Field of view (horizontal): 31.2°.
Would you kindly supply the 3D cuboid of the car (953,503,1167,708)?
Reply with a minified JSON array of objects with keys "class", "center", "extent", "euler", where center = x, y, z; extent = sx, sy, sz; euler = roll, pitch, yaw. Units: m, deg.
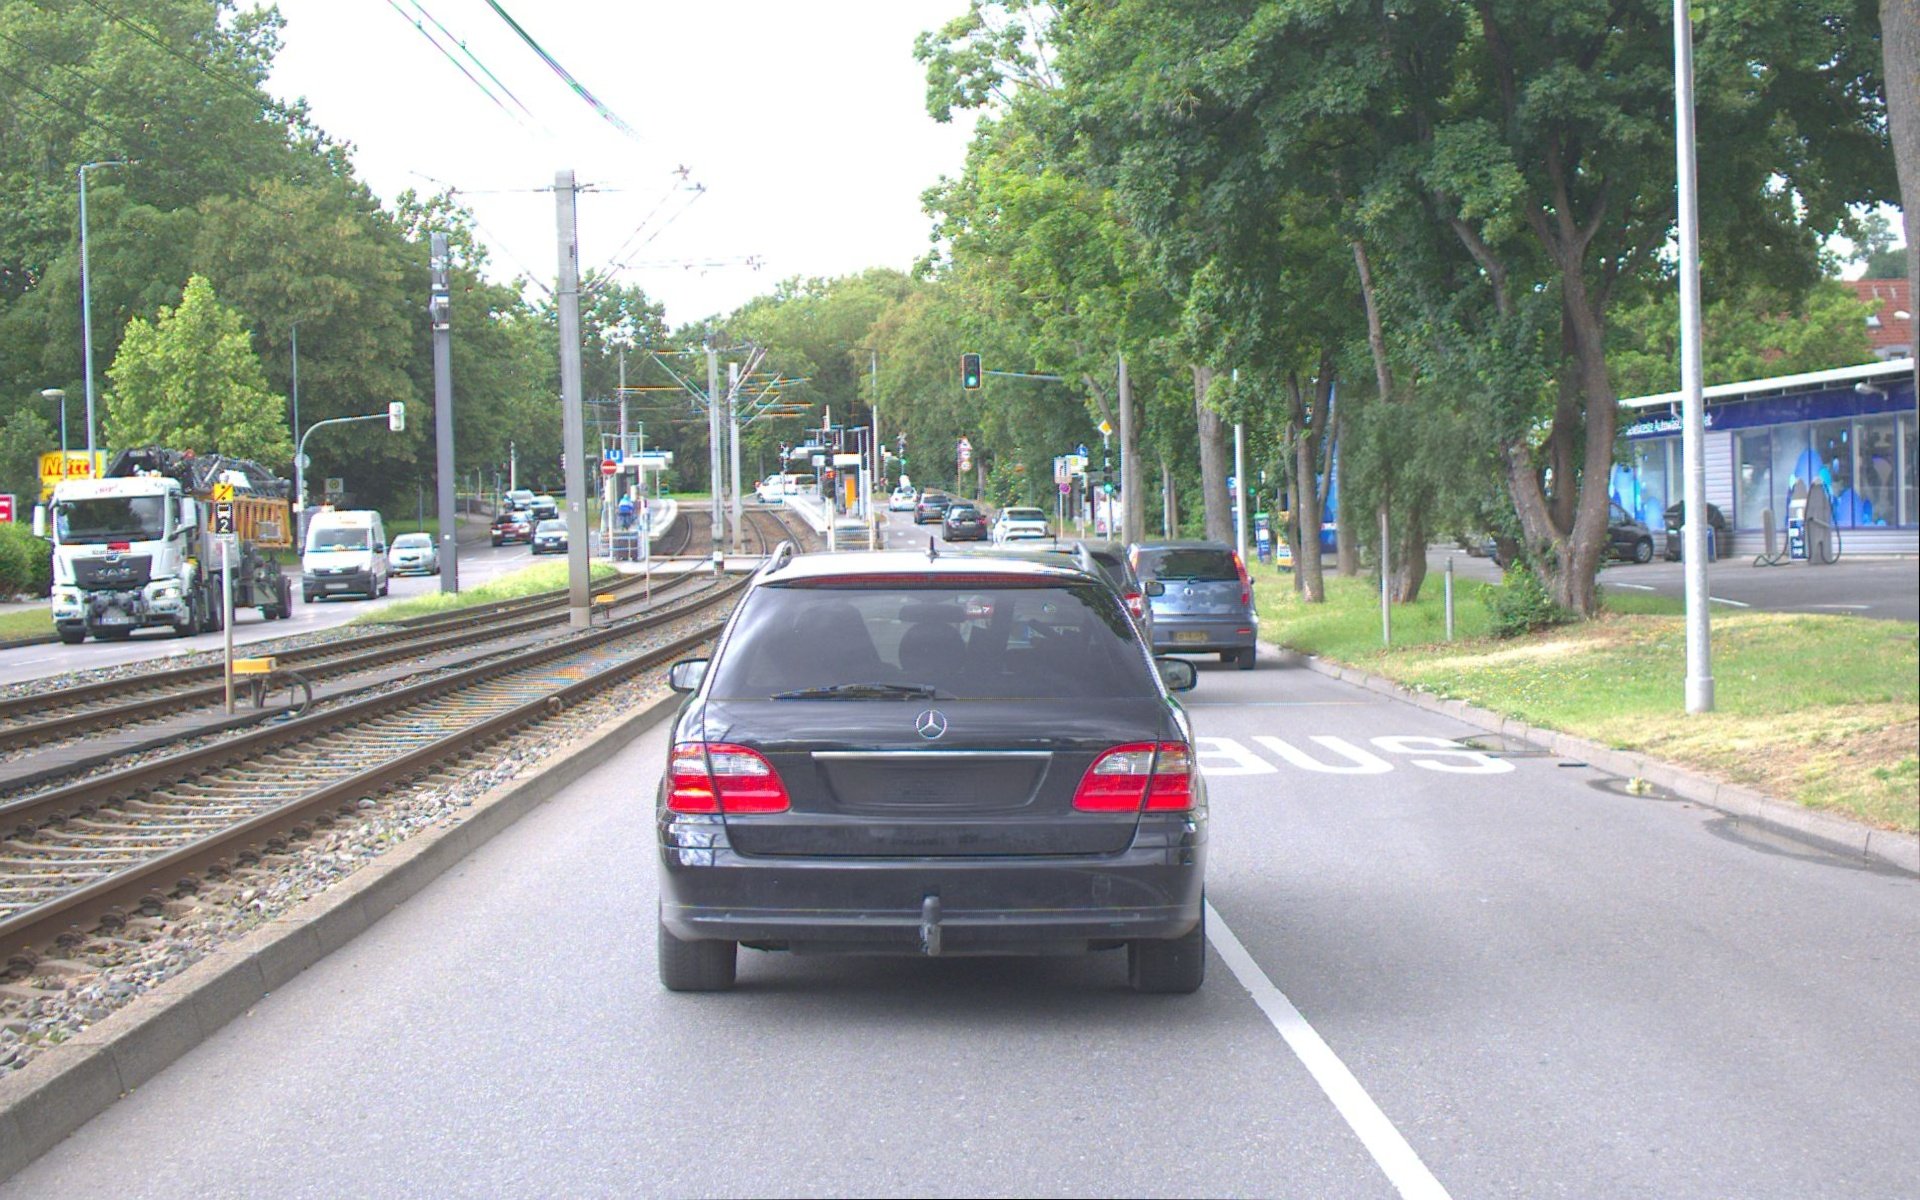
[{"class":"car","center":[0.858,0.027,31.480],"extent":[1.780,1.744,3.718],"euler":[1,1,-1]}]

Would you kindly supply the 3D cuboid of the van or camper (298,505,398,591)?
[{"class":"van or camper","center":[-17.543,-1.508,98.782],"extent":[1.993,2.346,5.766],"euler":[-2,1,-3]}]

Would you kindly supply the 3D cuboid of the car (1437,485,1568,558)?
[{"class":"car","center":[13.268,-1.926,83.908],"extent":[2.008,1.677,4.574],"euler":[-1,1,24]}]

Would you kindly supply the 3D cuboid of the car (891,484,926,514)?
[{"class":"car","center":[-3.100,-6.061,207.169],"extent":[1.993,1.708,4.000],"euler":[-1,1,-1]}]

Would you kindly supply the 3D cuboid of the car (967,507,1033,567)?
[{"class":"car","center":[1.248,-1.991,108.869],"extent":[1.993,1.831,4.000],"euler":[0,1,-1]}]

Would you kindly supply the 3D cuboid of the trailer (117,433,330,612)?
[{"class":"trailer","center":[-16.524,-1.746,78.113],"extent":[2.704,3.648,13.301],"euler":[-2,1,-4]}]

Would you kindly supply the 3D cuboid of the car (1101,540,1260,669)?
[{"class":"car","center":[2.526,0.030,39.946],"extent":[1.571,1.410,3.354],"euler":[1,1,-1]}]

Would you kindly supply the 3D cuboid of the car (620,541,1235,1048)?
[{"class":"car","center":[-0.116,0.540,12.063],"extent":[1.808,1.469,3.881],"euler":[0,1,-1]}]

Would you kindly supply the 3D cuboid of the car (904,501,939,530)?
[{"class":"car","center":[-2.088,-4.508,184.318],"extent":[1.666,1.527,3.771],"euler":[0,1,-4]}]

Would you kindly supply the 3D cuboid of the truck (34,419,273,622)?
[{"class":"truck","center":[-15.941,-1.569,68.798],"extent":[2.706,3.651,11.114],"euler":[-2,1,-3]}]

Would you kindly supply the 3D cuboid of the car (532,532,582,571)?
[{"class":"car","center":[-17.272,-2.092,147.475],"extent":[1.765,1.641,3.771],"euler":[0,1,-1]}]

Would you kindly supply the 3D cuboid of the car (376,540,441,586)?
[{"class":"car","center":[-19.773,-1.341,123.370],"extent":[1.765,1.641,3.771],"euler":[0,1,-1]}]

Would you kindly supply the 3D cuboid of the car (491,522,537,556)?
[{"class":"car","center":[-21.732,-2.984,167.536],"extent":[1.765,1.641,3.771],"euler":[0,1,-1]}]
